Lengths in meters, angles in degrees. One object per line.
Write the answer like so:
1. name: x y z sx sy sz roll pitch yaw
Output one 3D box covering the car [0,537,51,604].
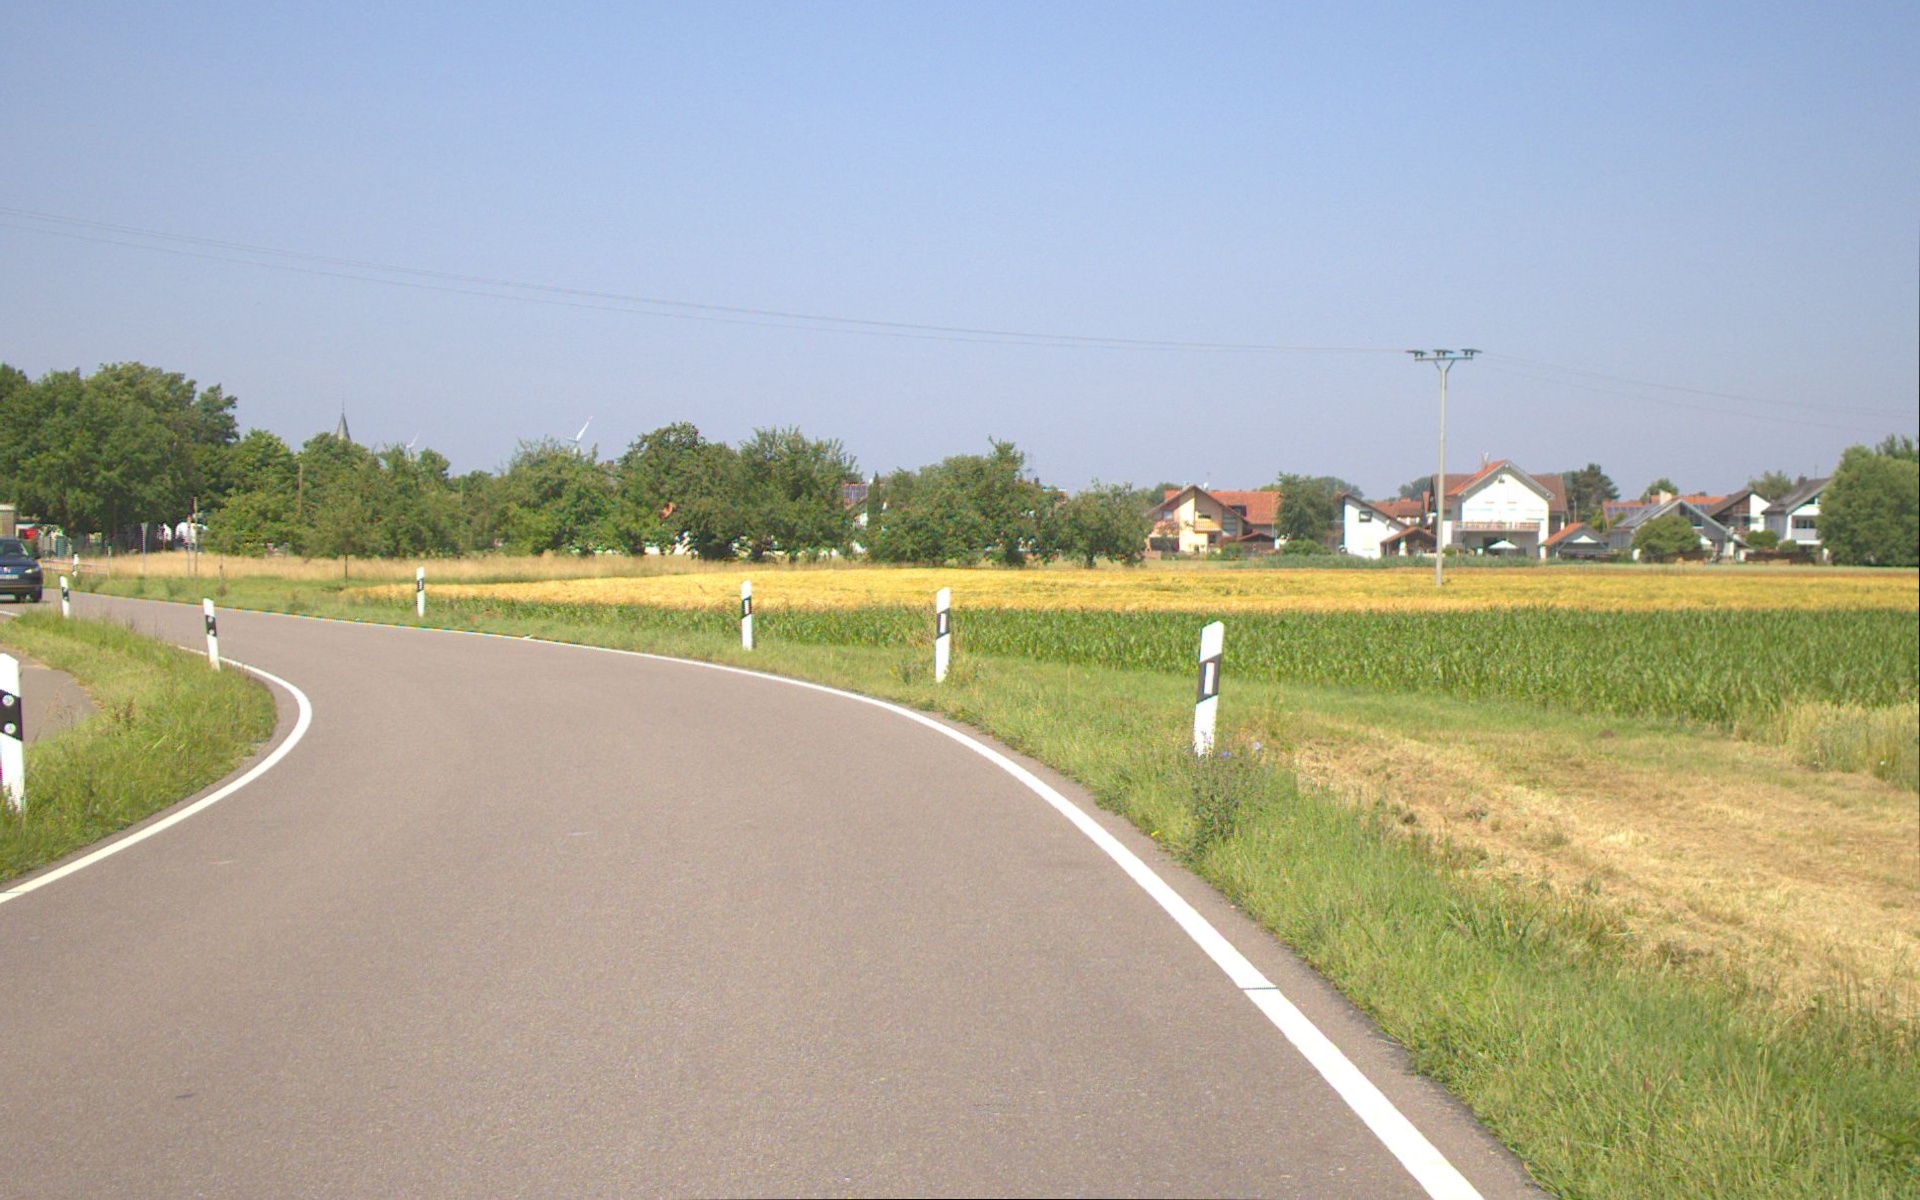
1. car: -25.335 -0.797 90.848 1.886 1.709 4.015 -1 1 -24
